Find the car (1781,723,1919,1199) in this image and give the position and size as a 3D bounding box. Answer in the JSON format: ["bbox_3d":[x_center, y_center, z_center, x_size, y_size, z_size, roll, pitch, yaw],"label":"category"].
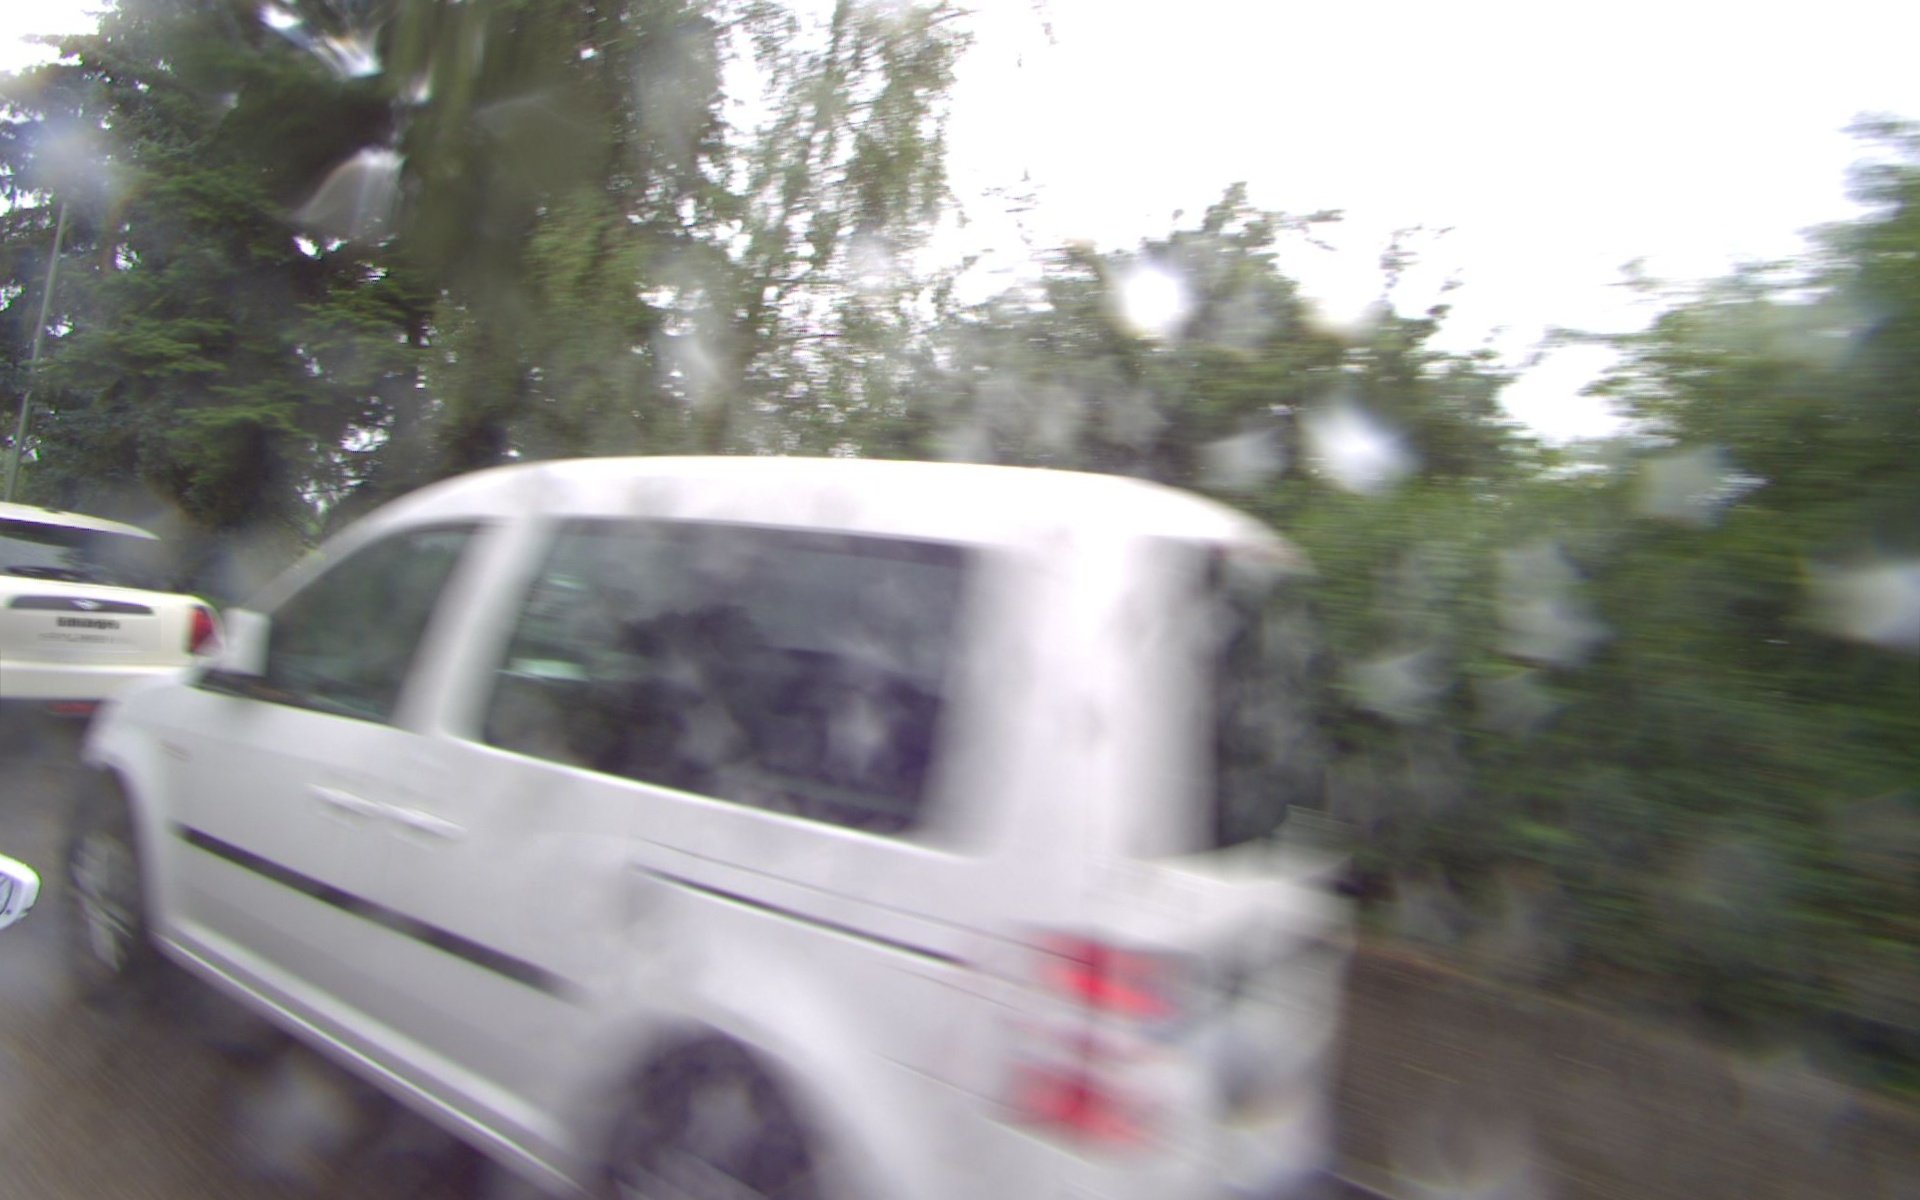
[{"bbox_3d":[3.168,1.151,0.339,4.238,1.477,1.791,7,0,33],"label":"car"}]

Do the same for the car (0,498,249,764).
[{"bbox_3d":[-6.788,0.008,6.838,4.135,1.420,1.711,7,0,33],"label":"car"}]

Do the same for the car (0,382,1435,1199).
[{"bbox_3d":[-1.107,0.506,3.094,4.290,1.812,1.786,7,0,33],"label":"car"}]
